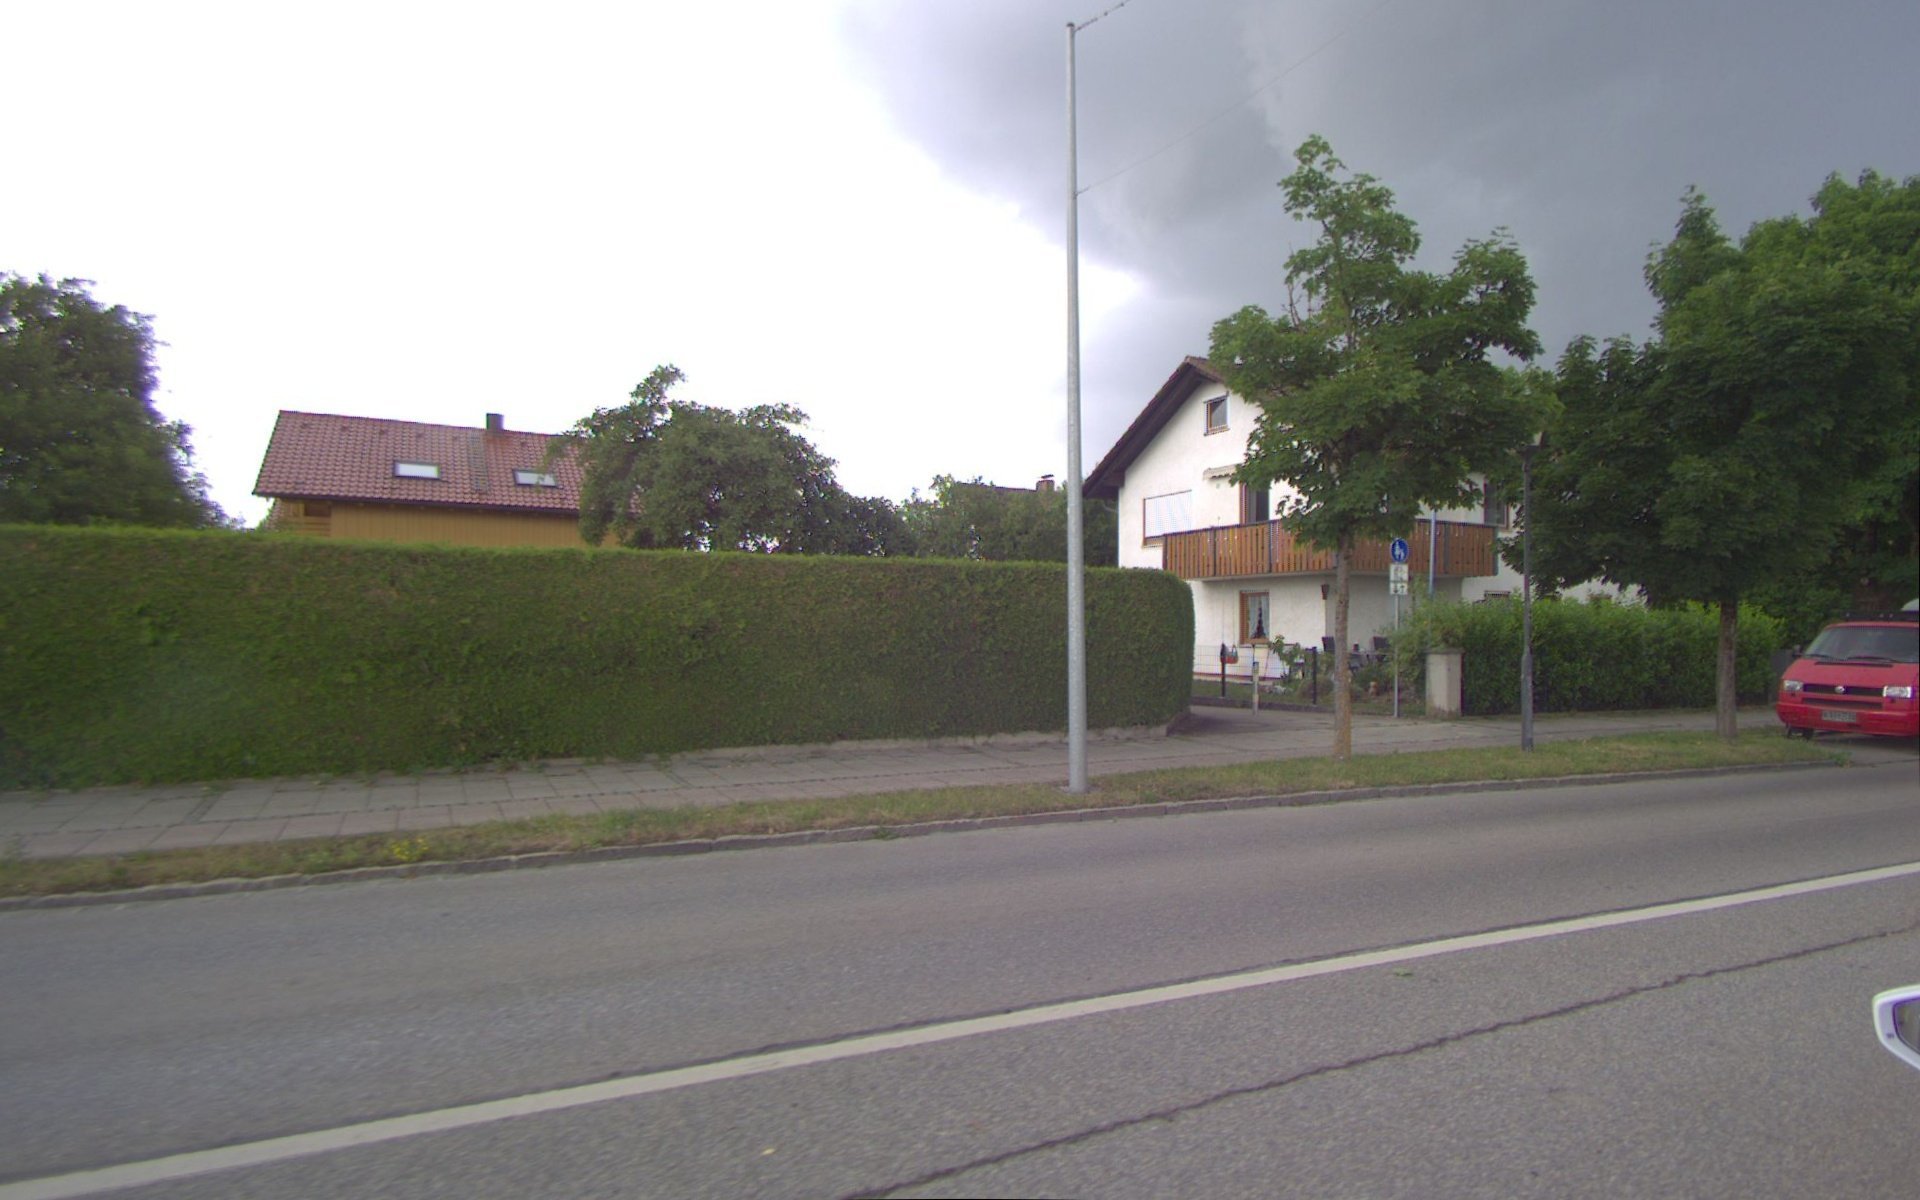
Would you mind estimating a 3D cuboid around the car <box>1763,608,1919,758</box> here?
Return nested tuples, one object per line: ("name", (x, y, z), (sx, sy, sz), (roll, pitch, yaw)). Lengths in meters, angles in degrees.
("car", (15.074, 1.214, 15.985), (4.984, 2.057, 1.822), (1, 0, -29))
